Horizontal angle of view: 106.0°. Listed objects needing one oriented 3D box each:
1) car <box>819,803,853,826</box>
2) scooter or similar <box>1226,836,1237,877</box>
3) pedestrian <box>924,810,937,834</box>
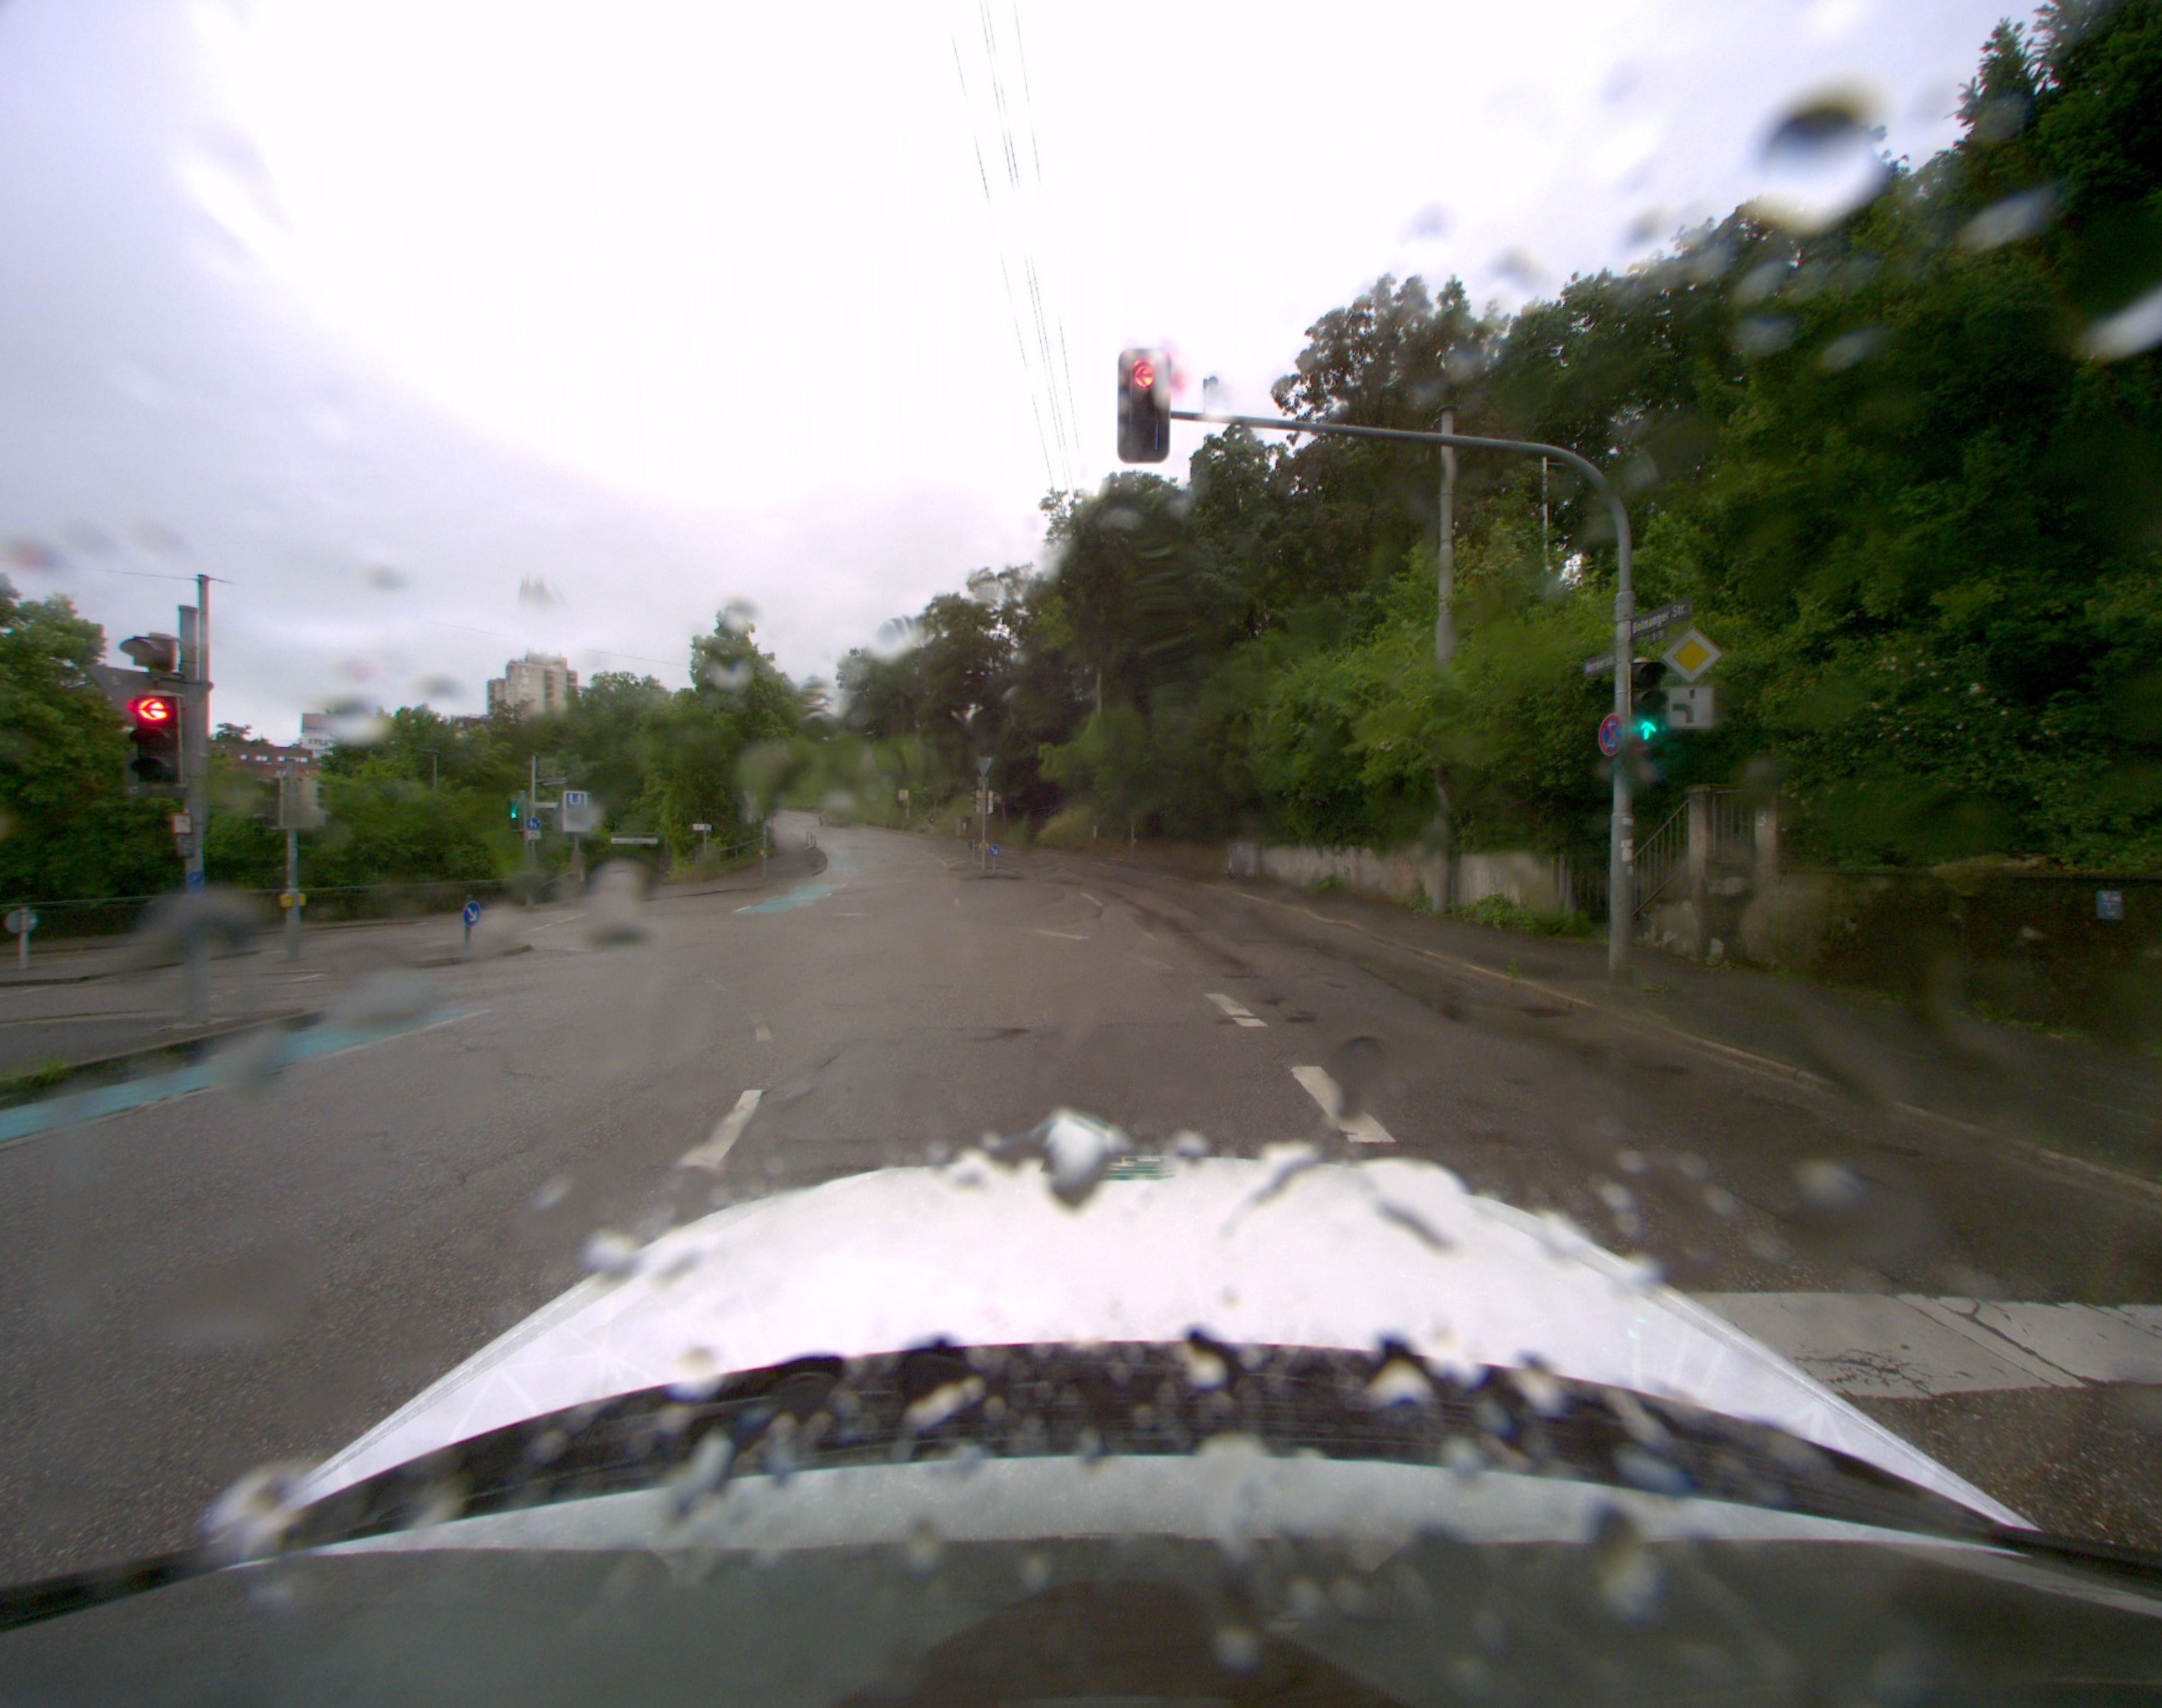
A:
[{"bbox_3d":[-22.976,-3.656,76.154,2.078,2.006,4.770,-1,1,-29],"label":"car"},{"bbox_3d":[4.903,0.063,26.493,0.320,1.279,0.754,-1,2,10],"label":"scooter or similar"},{"bbox_3d":[-11.308,-2.425,61.183,0.882,1.736,0.861,0,-1,-15],"label":"pedestrian"}]
